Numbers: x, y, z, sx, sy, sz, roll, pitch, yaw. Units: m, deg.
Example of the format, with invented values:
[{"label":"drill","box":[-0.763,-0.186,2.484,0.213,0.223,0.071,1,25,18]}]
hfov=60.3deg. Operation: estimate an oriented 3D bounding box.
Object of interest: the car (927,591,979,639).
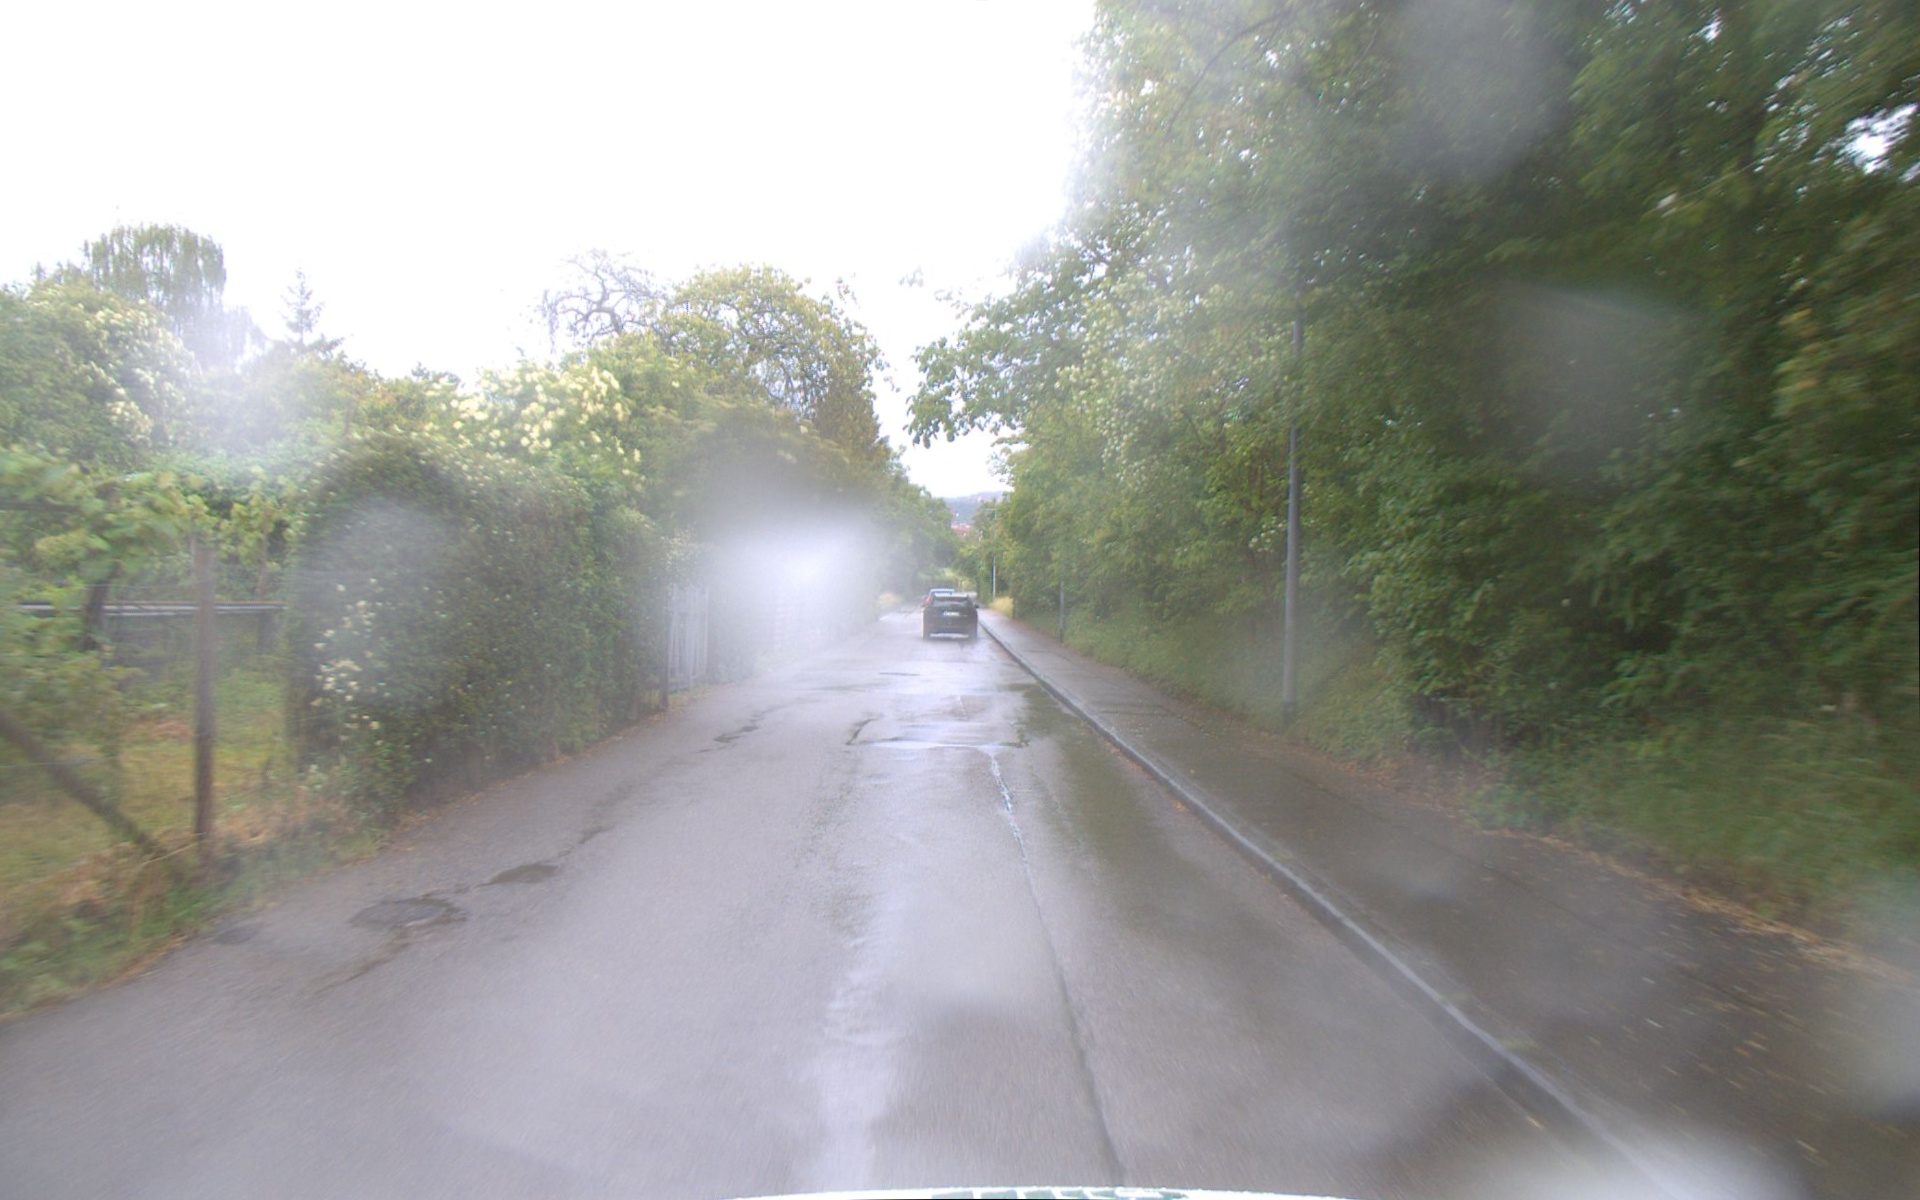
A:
[{"label":"car","box":[-0.208,0.478,53.136,1.601,1.475,3.544,1,-1,0]}]
